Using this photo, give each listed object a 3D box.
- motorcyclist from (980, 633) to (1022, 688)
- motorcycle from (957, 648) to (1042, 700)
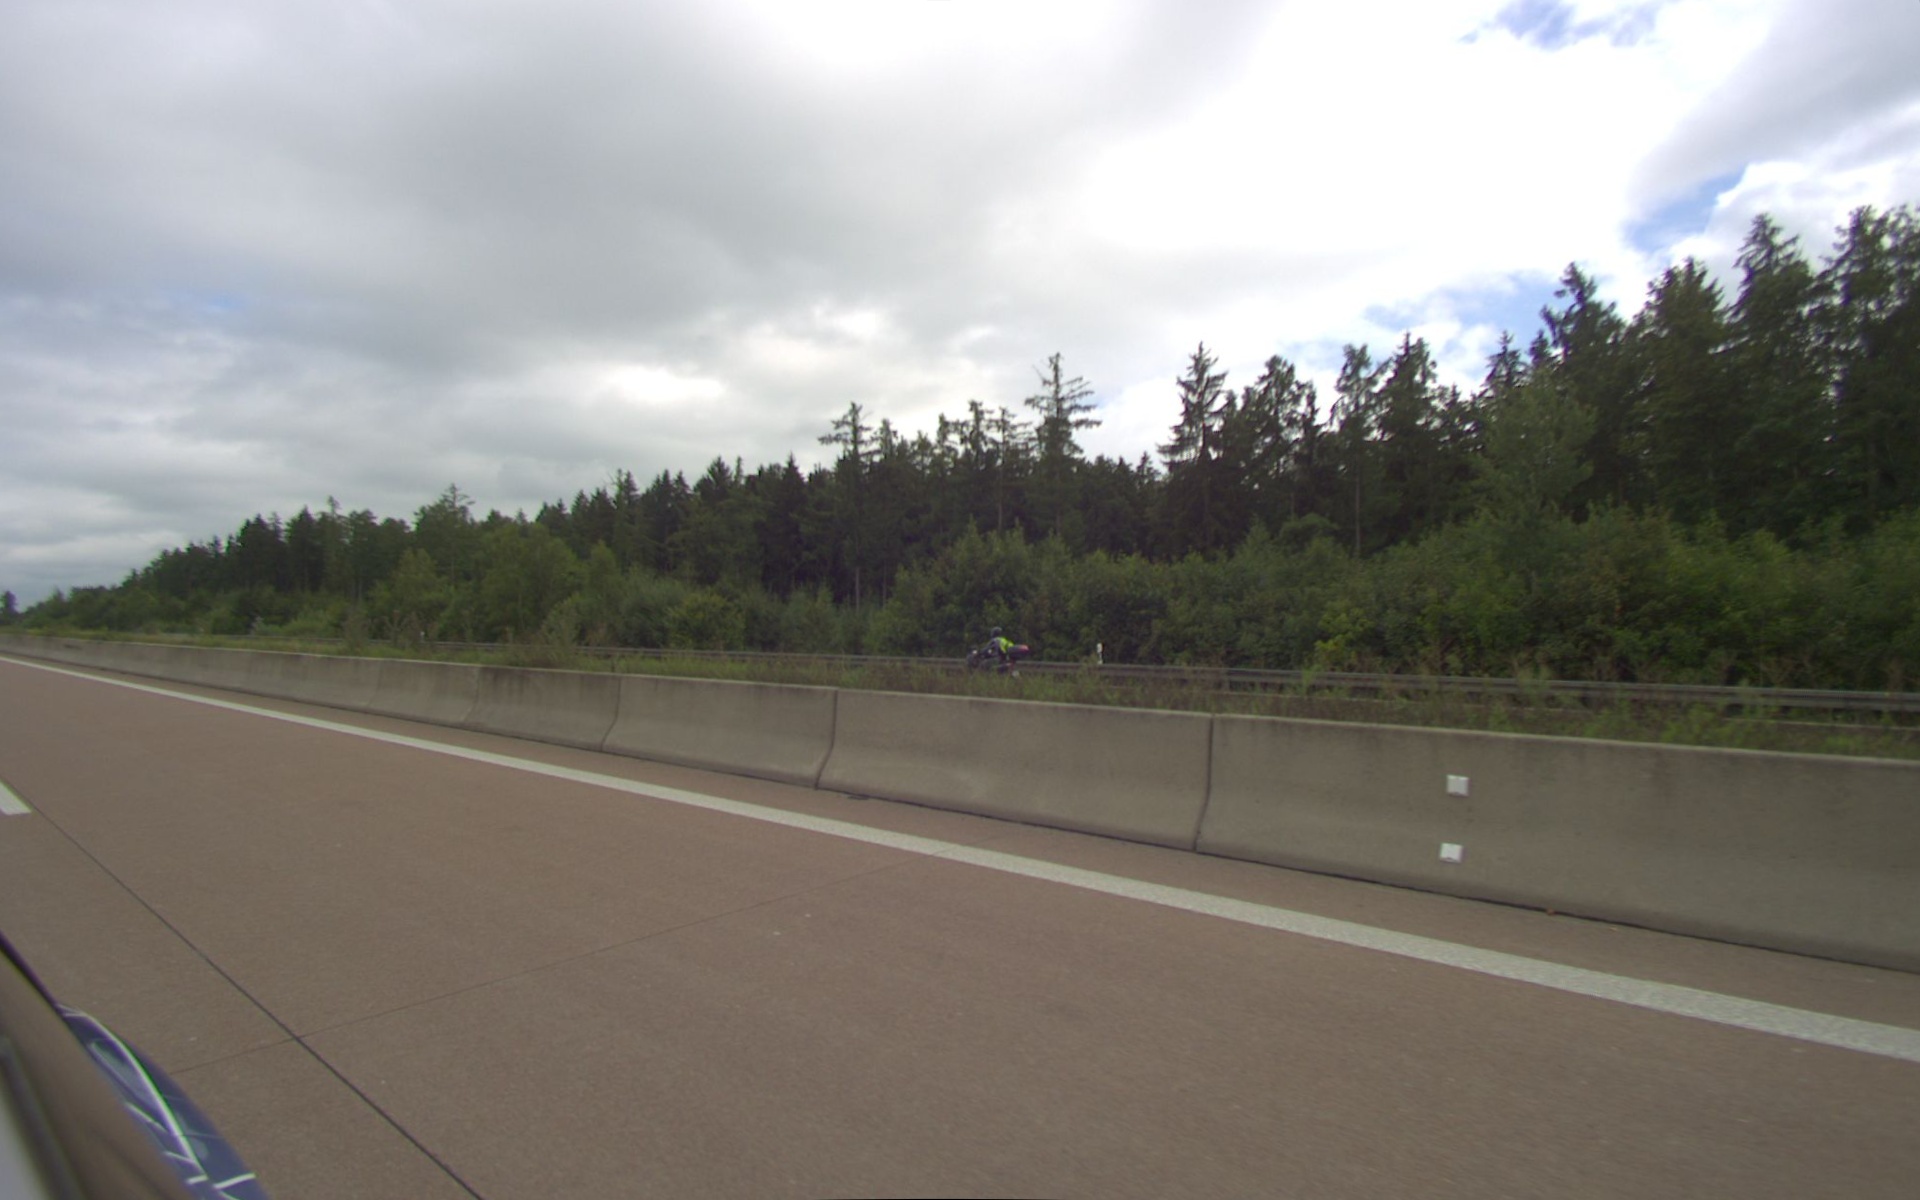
[{"bbox_3d":[0.990,1.467,24.673,0.801,1.293,0.588,-1,0,41],"label":"motorcyclist"},{"bbox_3d":[0.946,1.774,24.720,2.153,1.164,0.594,-1,0,41],"label":"motorcycle"}]
